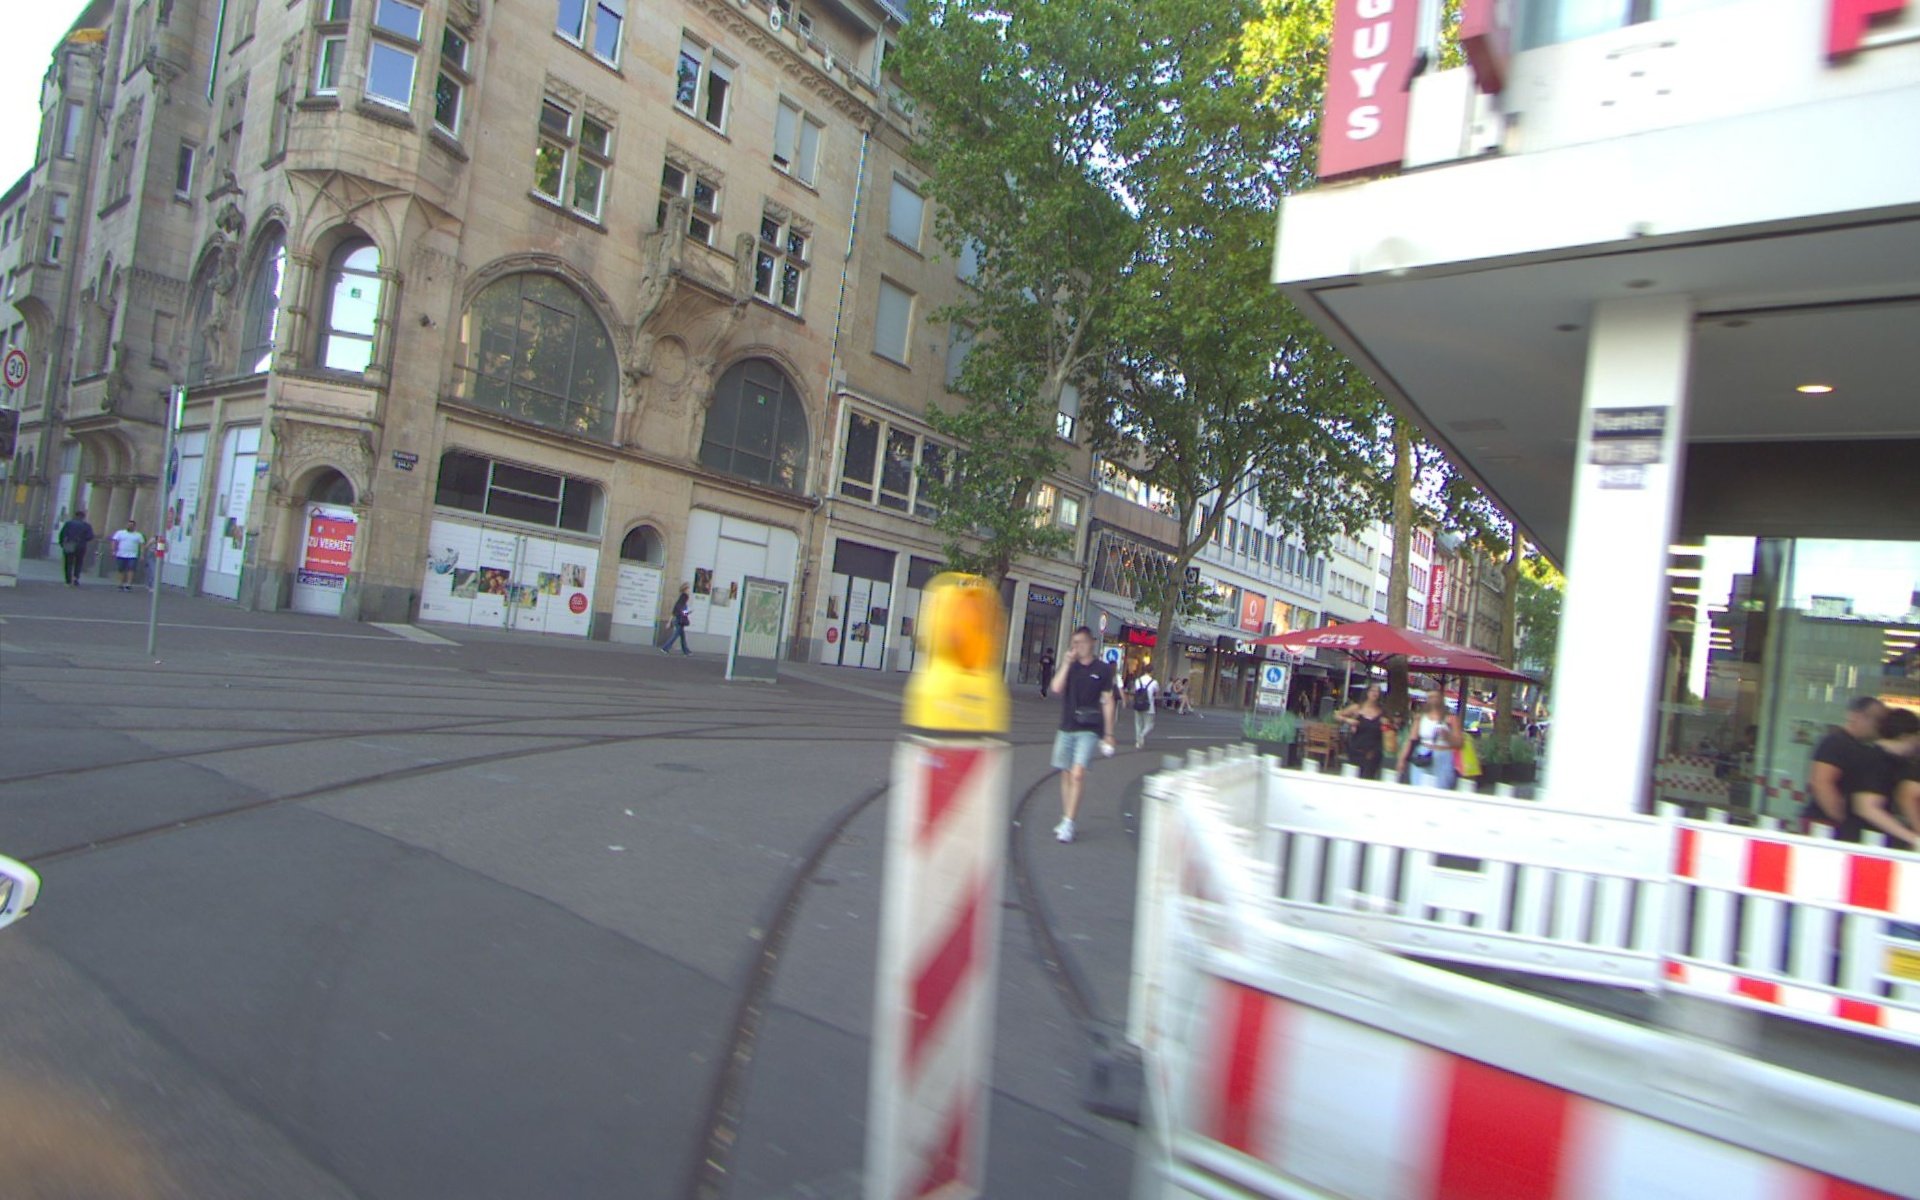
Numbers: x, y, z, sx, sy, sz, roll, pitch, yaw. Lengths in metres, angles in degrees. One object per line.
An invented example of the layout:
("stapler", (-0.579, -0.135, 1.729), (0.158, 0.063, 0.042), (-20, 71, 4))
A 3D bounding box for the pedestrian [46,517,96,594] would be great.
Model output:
("pedestrian", (-21.065, -1.044, 23.839), (0.661, 1.709, 0.625), (6, -1, 37))

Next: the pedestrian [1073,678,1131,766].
("pedestrian", (2.925, 2.515, 20.706), (0.716, 1.679, 0.777), (6, -3, 38))

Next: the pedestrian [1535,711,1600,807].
("pedestrian", (11.949, 3.116, 19.789), (0.829, 1.712, 0.838), (6, -3, 39))

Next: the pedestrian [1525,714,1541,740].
("pedestrian", (40.951, 9.065, 71.935), (0.749, 1.746, 0.662), (6, -3, 38))

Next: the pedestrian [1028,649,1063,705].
("pedestrian", (3.016, 2.724, 35.508), (0.703, 1.843, 0.777), (6, -3, 38))

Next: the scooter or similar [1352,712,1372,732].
("scooter or similar", (22.487, 6.812, 56.258), (0.774, 0.979, 0.662), (6, -3, 38))

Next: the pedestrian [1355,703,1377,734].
("pedestrian", (22.899, 6.690, 56.748), (0.821, 1.628, 0.662), (6, -3, 38))

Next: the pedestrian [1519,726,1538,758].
("pedestrian", (31.163, 7.782, 55.116), (0.653, 1.628, 0.662), (6, -3, 38))

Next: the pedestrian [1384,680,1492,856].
("pedestrian", (5.280, 1.834, 11.101), (0.761, 1.754, 0.788), (6, -3, 38))

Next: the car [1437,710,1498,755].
("car", (27.569, 7.210, 54.564), (1.971, 2.035, 4.284), (6, -4, 39))

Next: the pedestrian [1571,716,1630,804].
("pedestrian", (13.676, 3.415, 21.483), (0.829, 1.712, 0.838), (6, -3, 39))

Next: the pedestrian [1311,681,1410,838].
("pedestrian", (4.642, 1.834, 11.651), (0.703, 1.648, 0.825), (6, -3, 38))

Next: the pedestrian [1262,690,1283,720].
("pedestrian", (18.343, 6.178, 58.969), (0.821, 1.628, 0.662), (6, -3, 38))

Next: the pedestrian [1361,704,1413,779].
("pedestrian", (8.553, 2.833, 20.158), (0.680, 1.384, 0.643), (6, -3, 38))

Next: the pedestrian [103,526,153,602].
("pedestrian", (-19.850, -0.851, 23.992), (0.661, 1.709, 0.625), (6, -1, 37))

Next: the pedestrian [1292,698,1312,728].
("pedestrian", (20.727, 6.850, 60.948), (0.821, 1.628, 0.662), (6, -3, 38))

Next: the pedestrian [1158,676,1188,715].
("pedestrian", (8.514, 3.810, 40.225), (0.771, 1.430, 0.777), (6, -3, 38))

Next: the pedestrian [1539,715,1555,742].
("pedestrian", (41.723, 9.141, 71.528), (0.749, 1.746, 0.662), (6, -3, 38))

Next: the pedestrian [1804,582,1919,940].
("pedestrian", (5.660, 0.964, 6.170), (0.463, 2.036, 0.707), (6, -2, 31))

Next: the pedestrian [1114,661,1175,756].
("pedestrian", (3.667, 2.154, 19.968), (0.703, 1.754, 0.777), (6, -3, 38))

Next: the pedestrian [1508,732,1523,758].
("pedestrian", (40.076, 10.446, 72.570), (0.749, 1.746, 0.662), (6, -3, 38))

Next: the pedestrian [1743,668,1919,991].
("pedestrian", (6.035, 1.538, 6.892), (0.768, 2.036, 0.517), (8, -2, -10))

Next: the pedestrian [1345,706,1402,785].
("pedestrian", (7.883, 2.775, 19.164), (0.680, 1.384, 0.777), (6, -3, 38))

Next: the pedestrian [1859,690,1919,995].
("pedestrian", (6.877, 1.698, 6.990), (0.696, 2.036, 0.471), (8, -2, -10))

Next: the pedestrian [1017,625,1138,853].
("pedestrian", (1.029, 1.170, 8.663), (0.658, 1.788, 0.724), (7, -2, 21))

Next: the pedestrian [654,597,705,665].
("pedestrian", (-7.357, 0.812, 26.415), (0.703, 1.628, 0.820), (6, -3, 38))

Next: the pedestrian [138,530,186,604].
("pedestrian", (-19.610, -0.809, 24.736), (0.616, 1.709, 0.625), (6, -1, 37))

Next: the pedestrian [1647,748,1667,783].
("pedestrian", (34.498, 8.186, 49.766), (0.653, 1.628, 0.662), (6, -3, 38))

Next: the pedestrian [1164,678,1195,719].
("pedestrian", (8.460, 3.802, 38.794), (0.767, 1.430, 0.781), (6, -3, 38))

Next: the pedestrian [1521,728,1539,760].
("pedestrian", (30.827, 7.770, 54.408), (0.653, 1.628, 0.662), (6, -3, 38))
